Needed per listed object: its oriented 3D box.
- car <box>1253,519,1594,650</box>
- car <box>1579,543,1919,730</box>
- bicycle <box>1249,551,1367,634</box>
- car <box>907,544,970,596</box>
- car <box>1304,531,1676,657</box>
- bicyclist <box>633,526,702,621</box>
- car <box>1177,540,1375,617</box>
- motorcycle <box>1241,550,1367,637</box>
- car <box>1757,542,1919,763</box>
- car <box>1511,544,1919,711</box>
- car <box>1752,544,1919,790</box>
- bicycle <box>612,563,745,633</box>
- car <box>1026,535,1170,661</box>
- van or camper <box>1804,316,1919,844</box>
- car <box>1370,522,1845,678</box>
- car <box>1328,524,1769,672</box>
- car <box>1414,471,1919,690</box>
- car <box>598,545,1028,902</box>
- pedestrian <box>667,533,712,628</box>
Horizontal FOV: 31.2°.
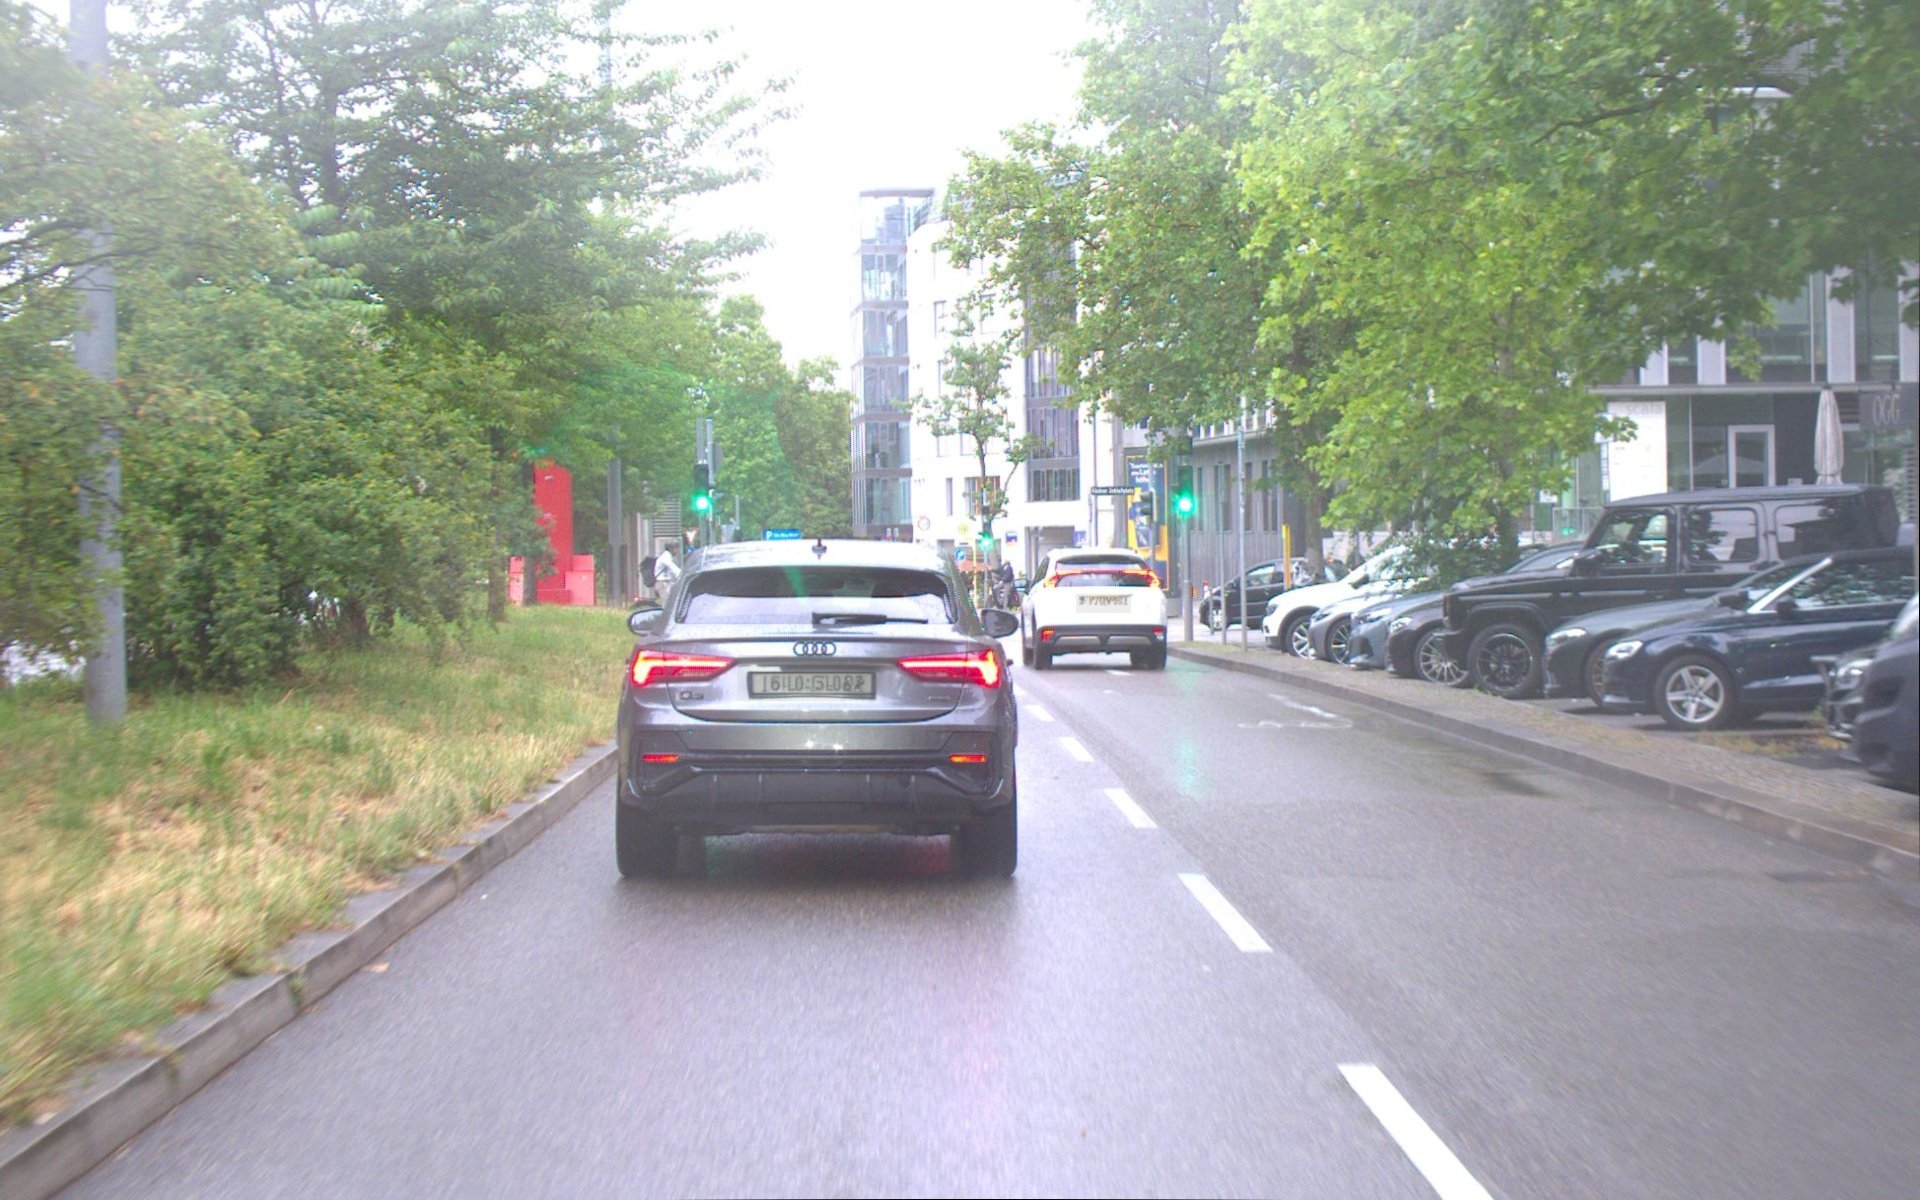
[{"bbox_3d":[6.344,-0.215,47.102,4.223,1.663,1.836,-1,1,27],"label":"car"},{"bbox_3d":[7.295,0.271,27.294,4.371,1.431,1.759,0,1,26],"label":"car"},{"bbox_3d":[5.972,-0.133,58.926,1.983,1.410,0.725,0,0,9],"label":"bicycle"},{"bbox_3d":[-0.621,-0.919,103.934,1.849,1.518,4.039,0,1,0],"label":"car"},{"bbox_3d":[6.766,-0.070,43.971,4.300,1.483,1.840,-1,1,29],"label":"car"},{"bbox_3d":[-5.155,-0.463,60.662,1.104,1.616,0.751,2,0,-1],"label":"bicyclist"},{"bbox_3d":[6.547,-0.433,71.462,3.861,1.562,1.664,0,0,42],"label":"car"},{"bbox_3d":[5.705,-0.110,56.984,2.029,1.410,0.725,0,0,9],"label":"motorcycle"},{"bbox_3d":[7.538,0.326,22.564,4.205,1.431,1.718,0,1,26],"label":"car"},{"bbox_3d":[7.375,0.234,30.219,4.630,1.390,1.844,-1,0,29],"label":"car"},{"bbox_3d":[7.097,0.370,20.287,4.394,1.431,1.938,0,1,26],"label":"car"},{"bbox_3d":[-4.964,-0.035,60.659,2.254,1.158,0.751,2,0,-1],"label":"bicycle"},{"bbox_3d":[1.876,-0.049,47.658,1.849,1.663,4.039,0,1,0],"label":"car"},{"bbox_3d":[7.331,-0.120,16.418,6.074,2.549,2.102,0,1,27],"label":"van or camper"},{"bbox_3d":[6.793,0.000,36.115,4.560,1.501,1.867,-1,1,25],"label":"car"},{"bbox_3d":[6.730,-0.027,39.200,4.778,1.528,1.868,-1,1,15],"label":"car"},{"bbox_3d":[7.105,-0.178,33.379,4.944,1.972,1.927,-1,1,26],"label":"car"},{"bbox_3d":[-0.652,0.502,16.872,1.849,1.518,4.039,0,1,-1],"label":"car"},{"bbox_3d":[-5.128,-0.362,65.251,0.662,1.787,0.750,0,0,12],"label":"pedestrian"}]
